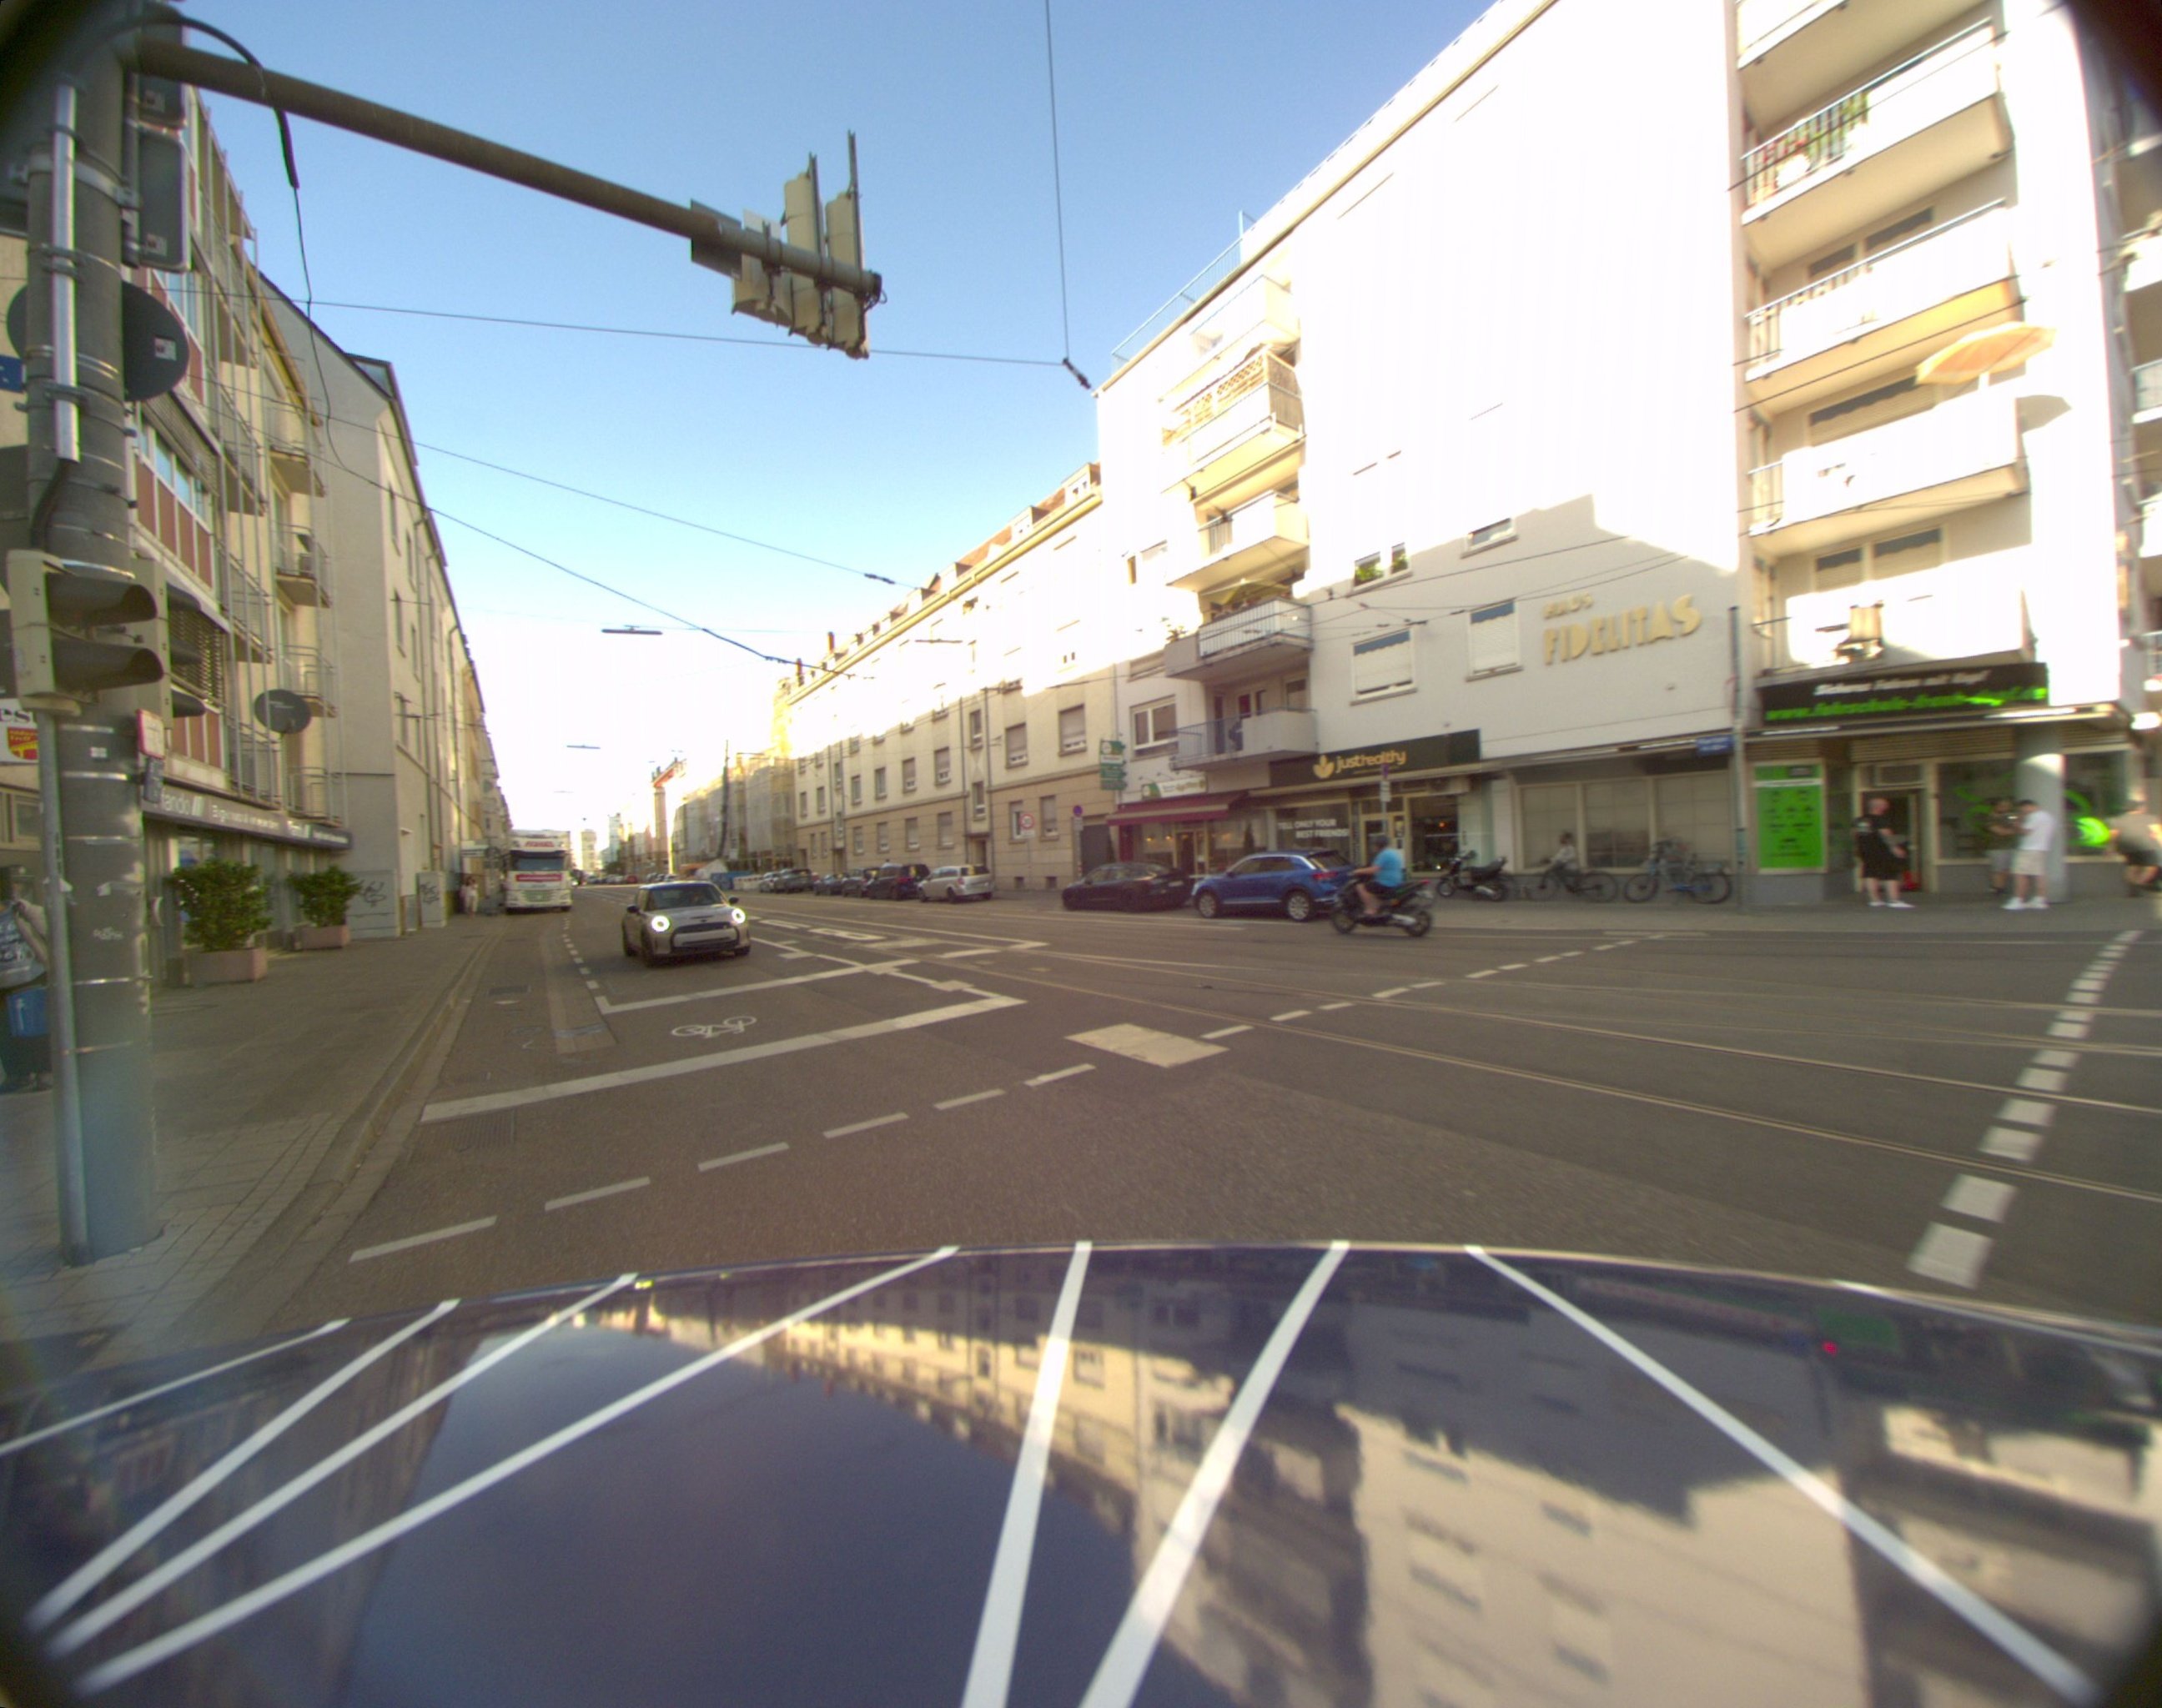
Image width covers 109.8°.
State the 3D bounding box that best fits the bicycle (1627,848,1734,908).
[{"bbox_3d":[11.789,0.455,14.973,0.553,1.100,1.535,-5,2,-34],"label":"bicycle"}]

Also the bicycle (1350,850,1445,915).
[{"bbox_3d":[6.822,0.596,16.466,0.610,1.307,1.792,-6,3,-36],"label":"bicycle"}]

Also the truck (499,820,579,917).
[{"bbox_3d":[-27.567,0.625,38.845,2.706,4.214,11.747,-3,1,-35],"label":"truck"}]

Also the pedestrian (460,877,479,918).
[{"bbox_3d":[-24.484,1.743,30.432,0.476,1.620,0.466,-3,1,-34],"label":"pedestrian"}]

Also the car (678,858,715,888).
[{"bbox_3d":[-38.112,1.837,75.199,2.220,2.682,5.858,-5,2,-35],"label":"car"}]

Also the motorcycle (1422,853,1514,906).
[{"bbox_3d":[9.016,0.575,17.763,0.610,1.128,1.792,-6,3,-36],"label":"motorcycle"}]

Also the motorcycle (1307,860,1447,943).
[{"bbox_3d":[4.778,0.753,12.381,0.715,1.213,1.960,-3,0,-41],"label":"motorcycle"}]

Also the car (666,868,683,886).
[{"bbox_3d":[-48.058,2.674,89.789,1.661,1.912,3.756,-5,2,-28],"label":"car"}]

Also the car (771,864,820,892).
[{"bbox_3d":[-18.722,1.568,49.669,1.755,1.600,4.148,-6,3,-37],"label":"car"}]

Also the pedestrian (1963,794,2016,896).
[{"bbox_3d":[17.006,-0.164,14.226,0.519,1.845,0.597,-6,3,-39],"label":"pedestrian"}]

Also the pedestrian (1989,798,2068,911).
[{"bbox_3d":[15.525,0.007,12.453,0.738,1.782,0.660,-3,1,-30],"label":"pedestrian"}]

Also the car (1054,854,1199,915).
[{"bbox_3d":[1.220,0.836,22.316,1.777,1.466,4.434,-5,2,-35],"label":"car"}]

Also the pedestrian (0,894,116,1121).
[{"bbox_3d":[-7.942,1.097,5.592,0.889,1.582,0.809,0,-2,-41],"label":"pedestrian"}]

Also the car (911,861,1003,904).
[{"bbox_3d":[-5.114,1.118,30.902,1.733,1.446,4.360,-6,3,-37],"label":"car"}]

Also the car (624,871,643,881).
[{"bbox_3d":[-76.079,3.714,129.149,2.236,1.518,4.947,-5,2,-35],"label":"car"}]

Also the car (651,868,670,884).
[{"bbox_3d":[-55.326,2.858,99.970,1.573,1.945,4.174,-5,2,-35],"label":"car"}]

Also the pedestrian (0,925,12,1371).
[{"bbox_3d":[-4.081,1.056,2.340,0.541,1.614,0.732,2,1,-11],"label":"pedestrian"}]

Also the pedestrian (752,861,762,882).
[{"bbox_3d":[-28.609,1.547,67.117,0.520,1.862,0.761,-6,3,-36],"label":"pedestrian"}]

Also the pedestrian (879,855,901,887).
[{"bbox_3d":[-10.705,0.948,42.648,0.665,1.758,1.003,-6,3,-43],"label":"pedestrian"}]

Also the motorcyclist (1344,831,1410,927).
[{"bbox_3d":[4.805,0.403,12.348,0.697,1.488,0.683,-3,0,-41],"label":"motorcyclist"}]

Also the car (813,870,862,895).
[{"bbox_3d":[-13.770,1.566,42.865,1.479,1.213,3.515,-6,3,-37],"label":"car"}]

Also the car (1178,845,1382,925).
[{"bbox_3d":[4.445,0.701,17.487,1.777,1.495,4.227,-6,2,-38],"label":"car"}]

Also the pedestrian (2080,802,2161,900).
[{"bbox_3d":[18.165,-0.050,13.173,0.760,1.642,0.699,1,2,-12],"label":"pedestrian"}]

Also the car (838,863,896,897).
[{"bbox_3d":[-11.086,1.311,39.237,1.647,1.550,3.586,-6,3,-36],"label":"car"}]

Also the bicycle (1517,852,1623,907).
[{"bbox_3d":[10.496,0.540,16.360,0.610,1.082,1.792,-6,2,-36],"label":"bicycle"}]

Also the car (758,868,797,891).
[{"bbox_3d":[-21.225,1.774,53.103,1.568,1.372,3.499,-6,3,-37],"label":"car"}]

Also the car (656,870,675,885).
[{"bbox_3d":[-51.756,2.904,94.641,1.573,1.674,3.927,-5,2,-35],"label":"car"}]

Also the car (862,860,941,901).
[{"bbox_3d":[-8.386,1.185,35.266,1.823,1.624,4.314,-6,3,-37],"label":"car"}]

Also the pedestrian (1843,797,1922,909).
[{"bbox_3d":[14.018,-0.026,13.305,0.575,1.890,0.738,-3,3,-18],"label":"pedestrian"}]

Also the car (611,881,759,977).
[{"bbox_3d":[-7.618,1.314,14.439,1.731,1.417,3.807,-5,1,-38],"label":"car"}]

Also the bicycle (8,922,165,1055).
[{"bbox_3d":[-10.830,1.406,8.346,0.498,1.155,1.772,-4,2,-36],"label":"bicycle"}]
